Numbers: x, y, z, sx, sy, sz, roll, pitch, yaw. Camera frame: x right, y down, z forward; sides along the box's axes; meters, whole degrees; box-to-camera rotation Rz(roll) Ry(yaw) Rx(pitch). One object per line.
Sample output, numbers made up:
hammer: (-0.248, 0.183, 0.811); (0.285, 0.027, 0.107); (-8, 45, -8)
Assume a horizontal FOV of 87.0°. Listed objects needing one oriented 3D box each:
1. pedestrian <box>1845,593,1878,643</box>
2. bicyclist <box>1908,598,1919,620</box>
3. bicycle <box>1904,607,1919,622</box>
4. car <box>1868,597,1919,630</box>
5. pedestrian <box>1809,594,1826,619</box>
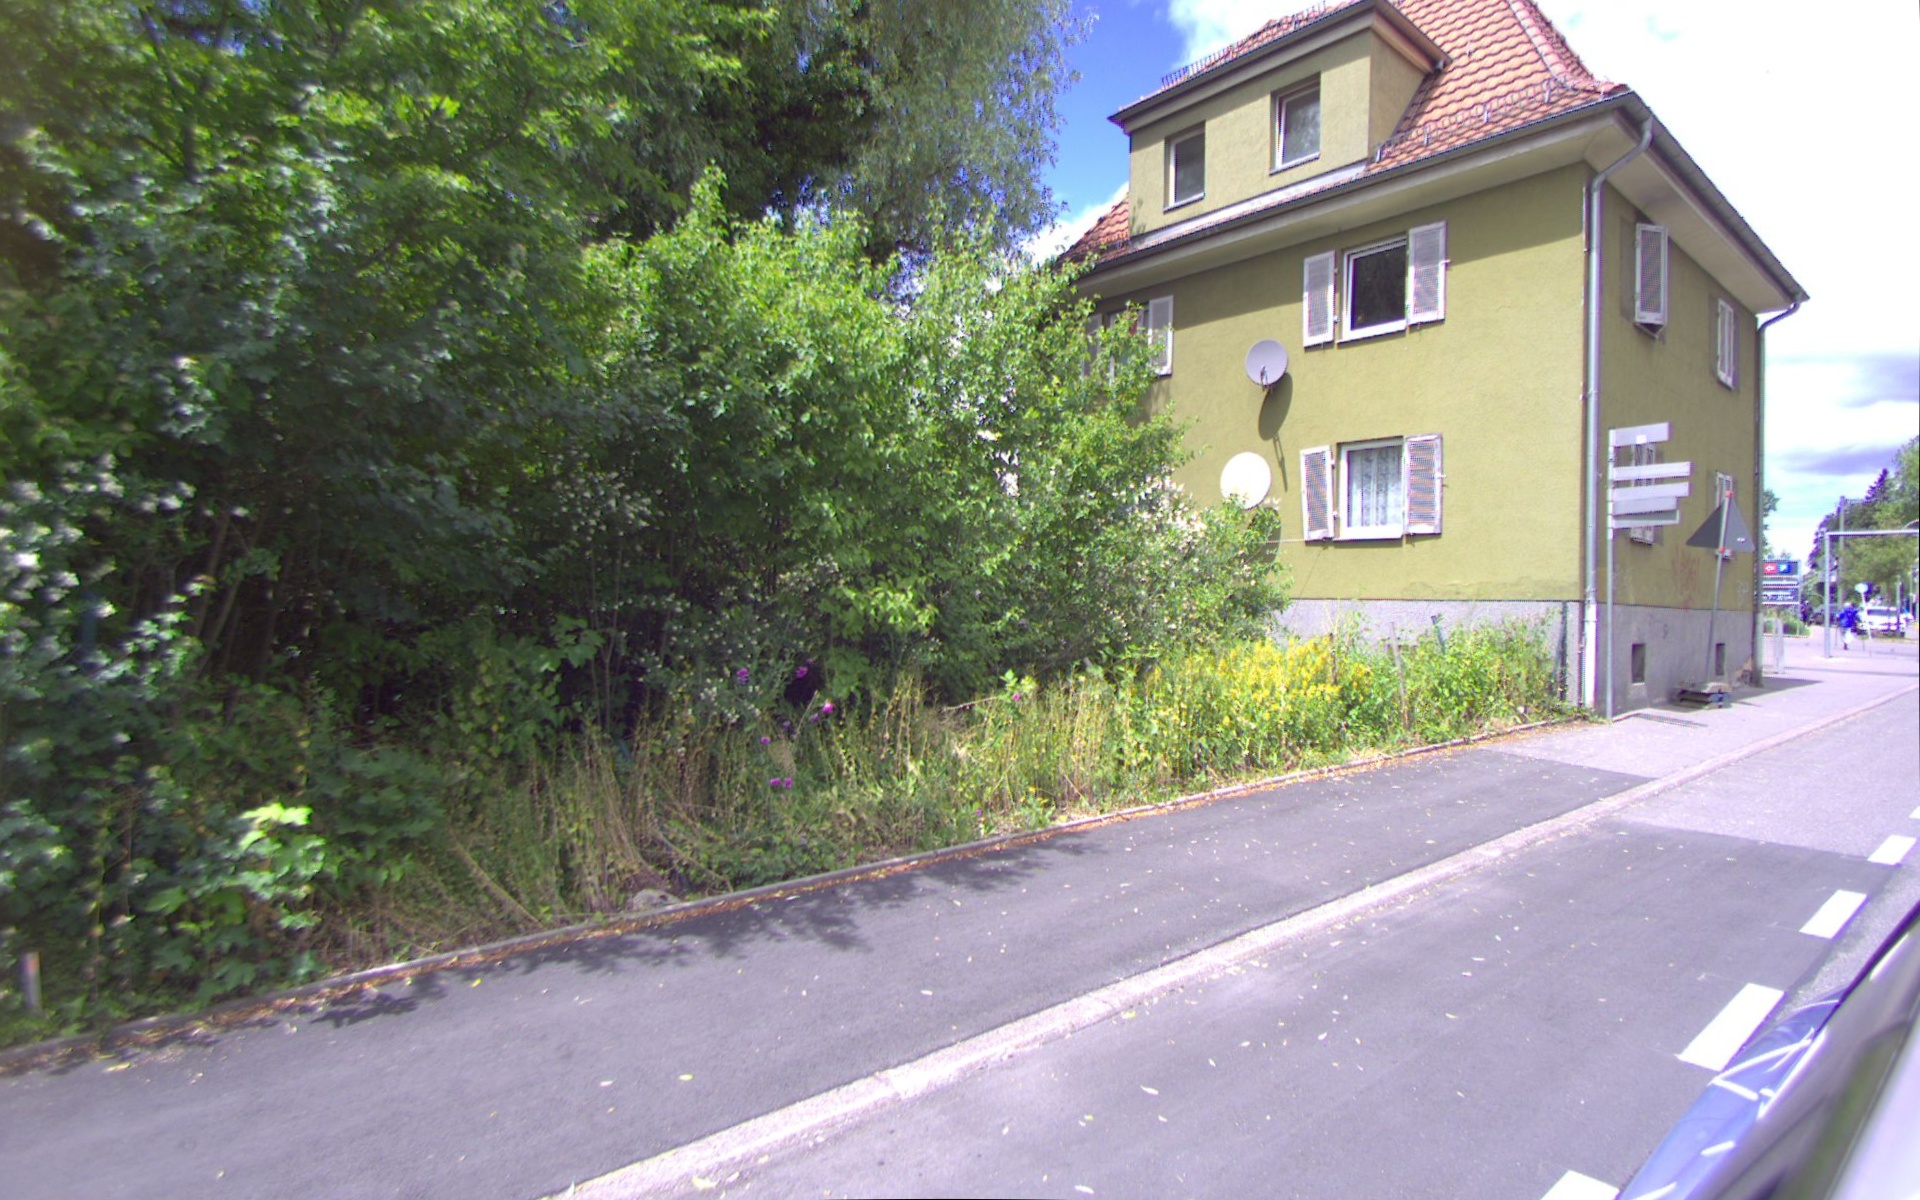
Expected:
pedestrian: (29.152, 0.561, 32.733); (0.726, 1.572, 1.042); (1, 0, 39)
bicyclist: (71.932, 0.700, 76.013); (0.797, 1.629, 0.767); (-1, -2, 19)
bicycle: (71.947, 1.064, 76.015); (0.803, 1.122, 1.789); (-1, -1, 19)
car: (47.519, 0.648, 51.297); (3.931, 1.529, 1.797); (0, 1, -42)
pedestrian: (57.486, 0.435, 67.842); (0.765, 1.683, 0.721); (1, -3, -45)
